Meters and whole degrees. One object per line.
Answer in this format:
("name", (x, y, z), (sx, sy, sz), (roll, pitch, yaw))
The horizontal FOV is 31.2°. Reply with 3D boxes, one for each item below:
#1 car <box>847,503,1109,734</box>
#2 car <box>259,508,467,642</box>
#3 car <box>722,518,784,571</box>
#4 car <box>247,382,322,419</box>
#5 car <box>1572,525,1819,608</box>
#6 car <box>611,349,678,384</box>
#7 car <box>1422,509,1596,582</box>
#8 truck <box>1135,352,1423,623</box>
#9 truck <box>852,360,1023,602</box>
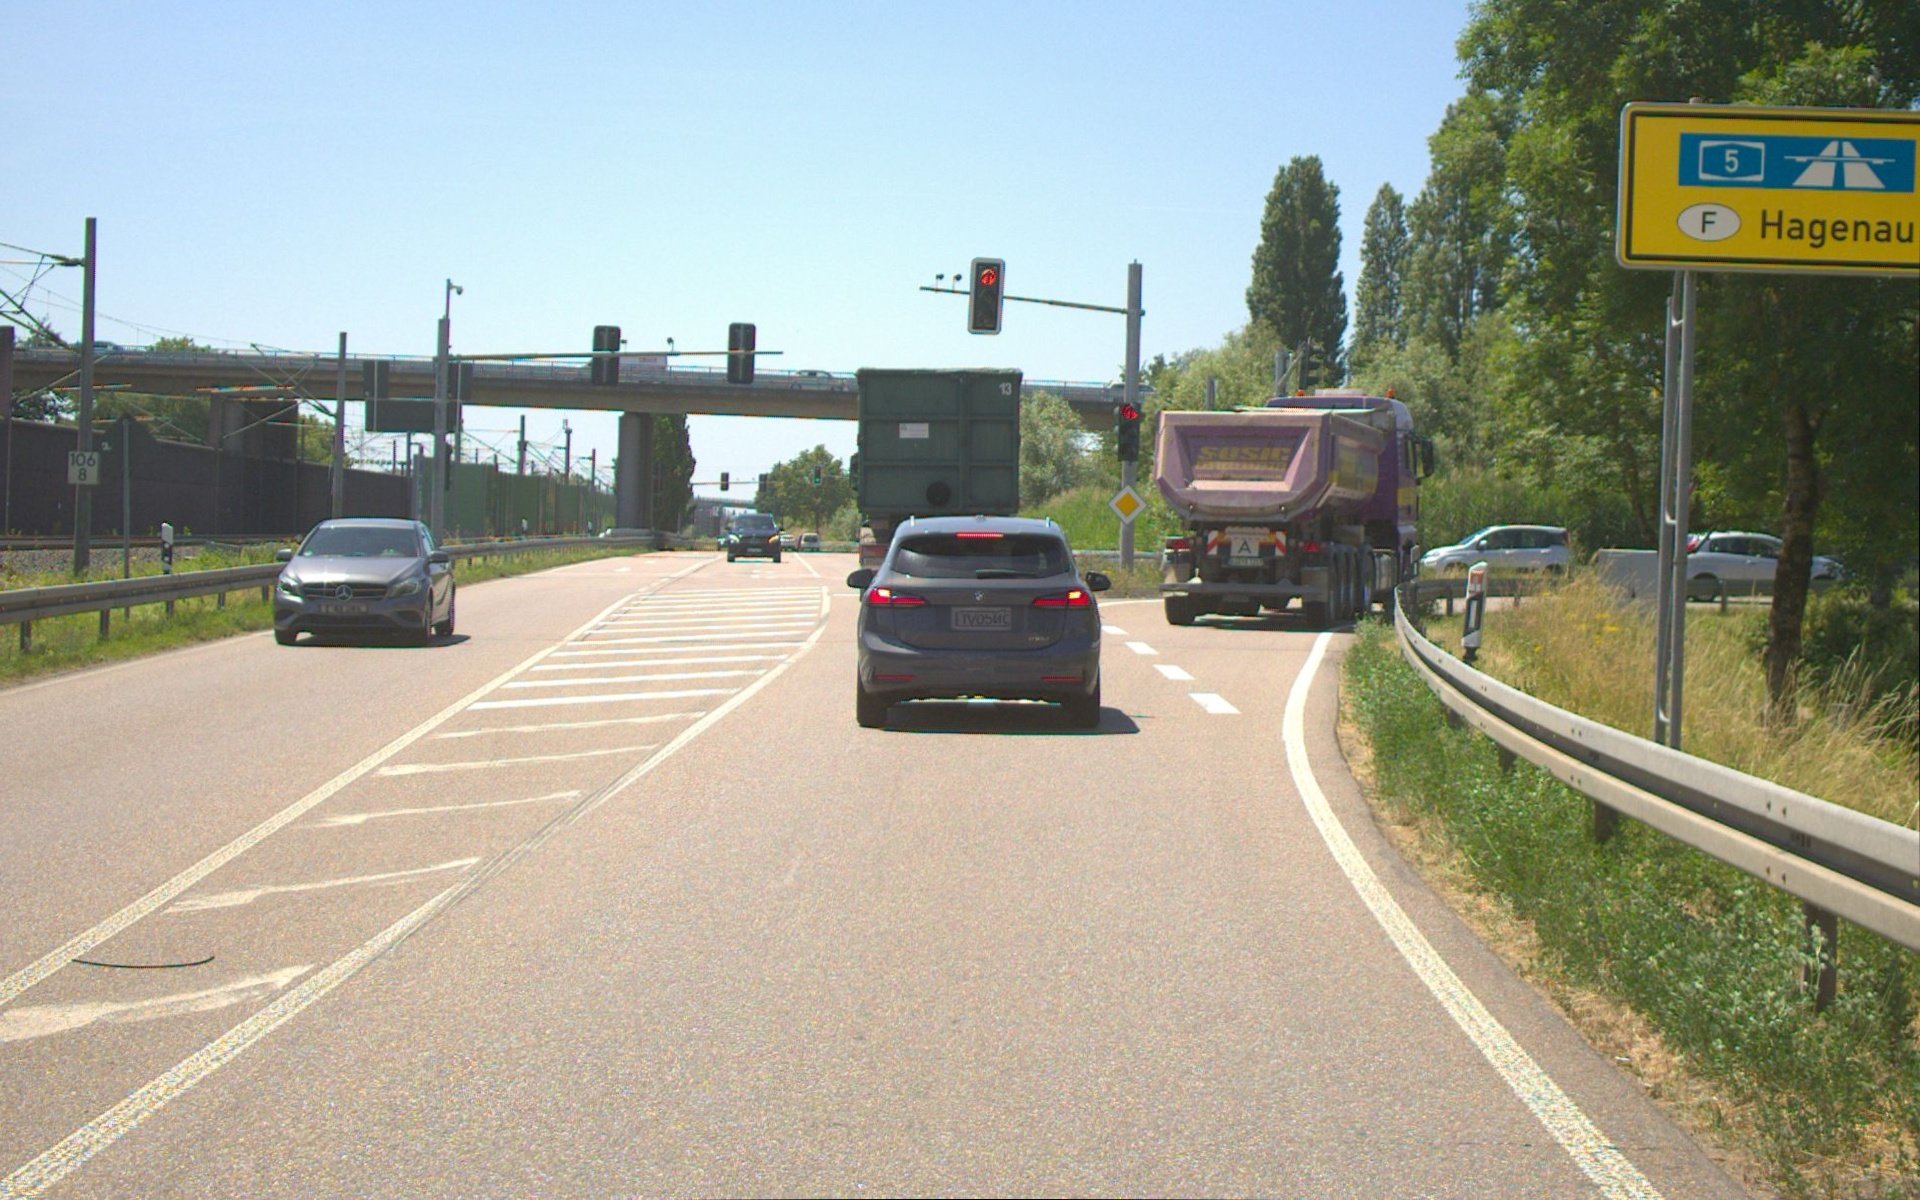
("car", (0.119, 0.087, 26.637), (1.844, 1.617, 4.226), (1, 1, 0))
("car", (-7.071, -0.340, 41.144), (1.864, 1.480, 4.889), (1, 1, -3))
("car", (-7.435, -2.026, 123.825), (1.927, 1.761, 4.598), (2, 2, -1))
("car", (-39.284, -11.617, 199.993), (3.986, 2.007, 2.000), (1, 1, -2))
("car", (15.263, -0.700, 71.451), (4.648, 1.626, 1.934), (1, 1, -3))
("car", (-19.403, -14.365, 211.547), (3.986, 2.007, 2.000), (1, 1, -2))
("car", (12.756, -1.280, 80.037), (3.706, 1.626, 1.735), (1, 1, -2))
("truck", (5.289, -1.718, 54.545), (2.835, 3.808, 11.878), (1, 1, 13))
("truck", (-0.458, -1.990, 58.154), (2.589, 3.724, 9.576), (1, 2, -1))
